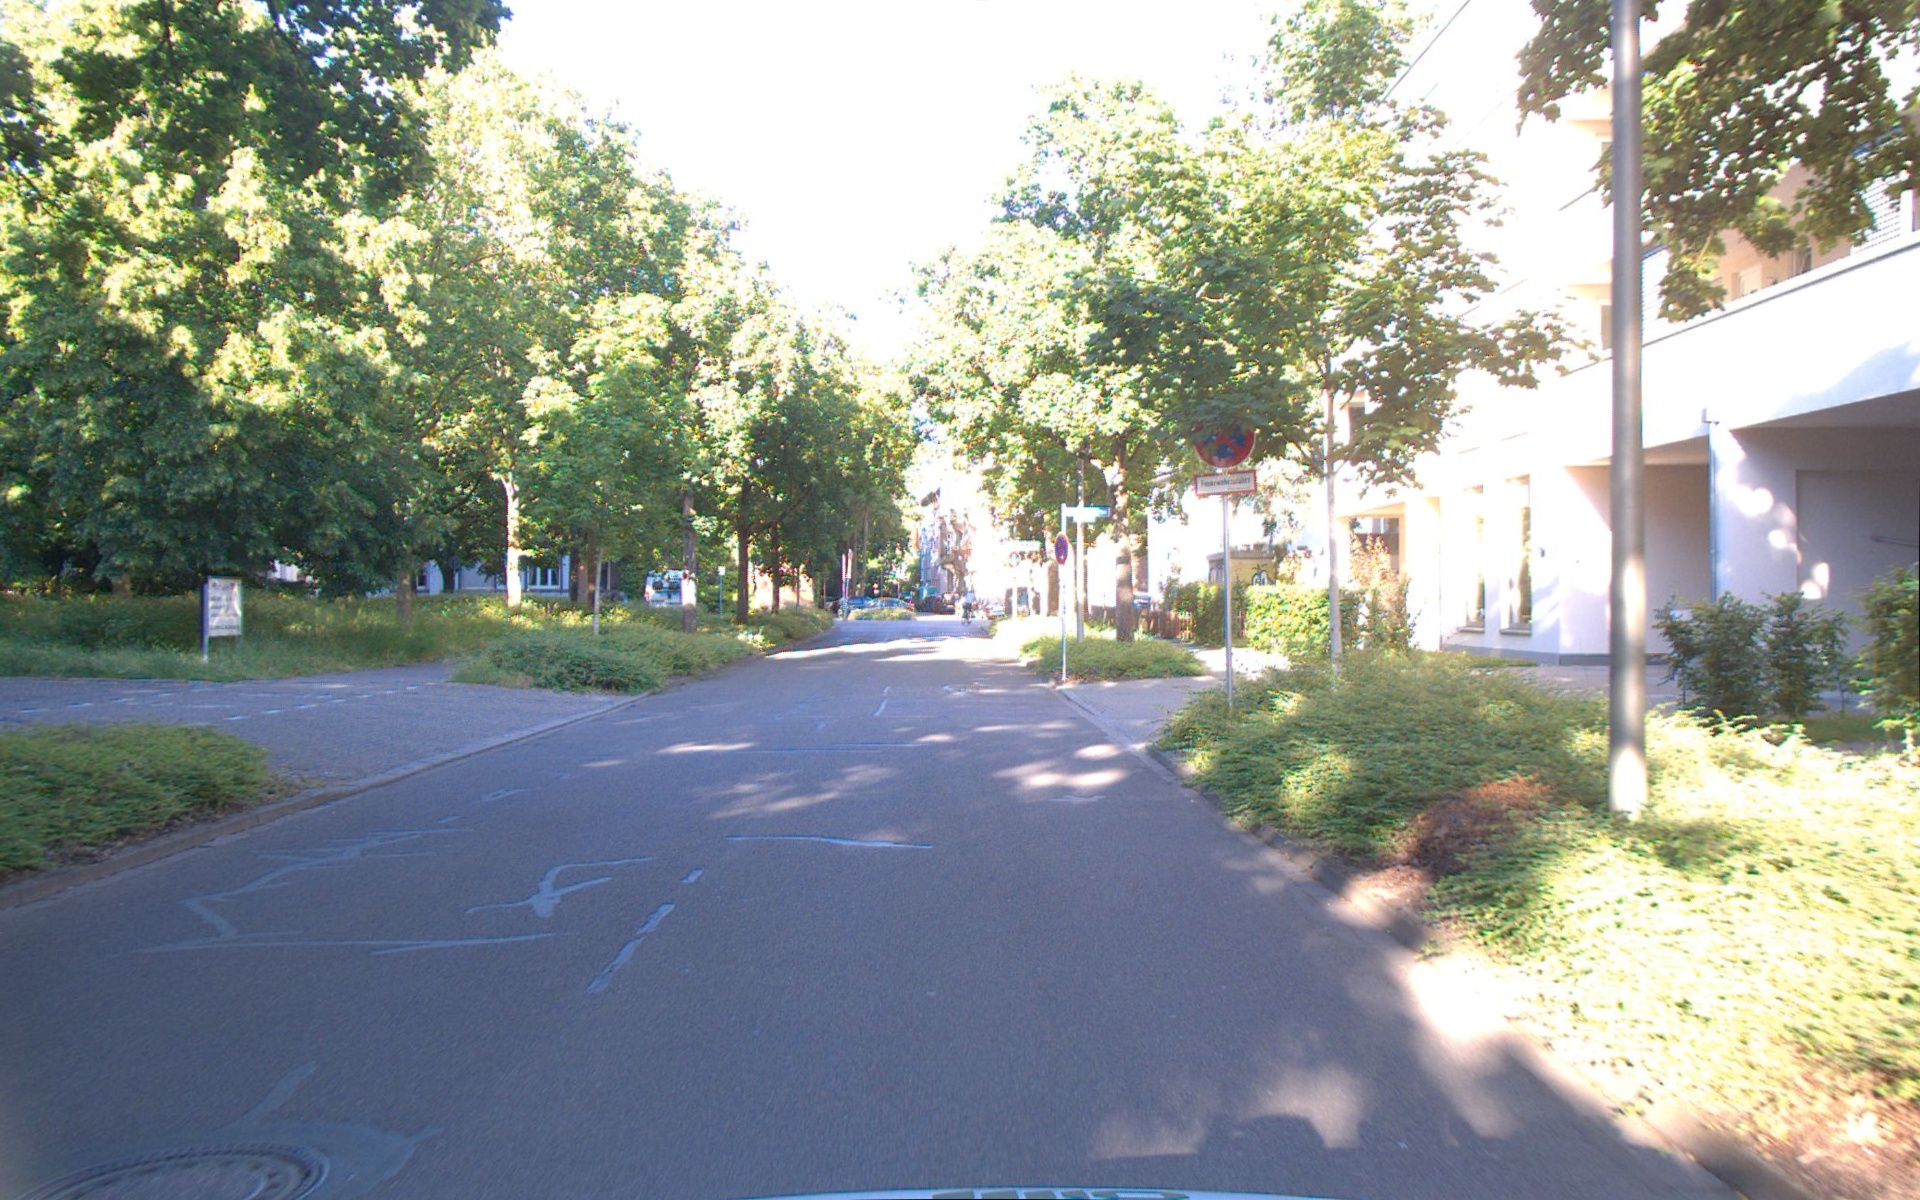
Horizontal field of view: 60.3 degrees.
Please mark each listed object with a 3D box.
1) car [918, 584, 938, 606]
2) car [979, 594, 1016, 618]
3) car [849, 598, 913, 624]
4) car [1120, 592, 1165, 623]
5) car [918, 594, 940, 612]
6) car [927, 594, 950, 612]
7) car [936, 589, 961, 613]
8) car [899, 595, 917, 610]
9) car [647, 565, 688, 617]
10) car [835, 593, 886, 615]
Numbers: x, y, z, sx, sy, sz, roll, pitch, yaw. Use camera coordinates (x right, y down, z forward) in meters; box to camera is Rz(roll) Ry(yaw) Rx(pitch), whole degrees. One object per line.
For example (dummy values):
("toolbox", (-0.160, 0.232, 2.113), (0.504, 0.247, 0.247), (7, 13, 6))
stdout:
("car", (-3.152, -0.532, 161.582), (1.775, 2.086, 3.997), (1, 0, -4))
("car", (2.422, 0.376, 108.135), (1.777, 1.527, 3.993), (0, 0, -8))
("car", (-5.059, 0.693, 105.949), (3.913, 1.527, 1.814), (1, 0, -9))
("car", (9.718, 0.401, 88.350), (1.953, 1.613, 3.639), (1, 0, -1))
("car", (-2.816, 0.259, 151.573), (1.775, 1.527, 3.997), (1, 0, -4))
("car", (-1.889, 0.264, 144.862), (1.775, 1.527, 3.997), (1, 0, -4))
("car", (-0.974, 0.066, 136.739), (1.775, 1.959, 3.997), (1, 0, -4))
("car", (-5.601, 0.234, 178.514), (1.775, 1.527, 3.997), (1, 0, -4))
("car", (-14.874, -0.439, 84.380), (1.957, 2.552, 3.991), (1, 0, -9))
("car", (-7.112, 0.282, 118.192), (3.521, 1.537, 1.497), (1, 0, -9))
